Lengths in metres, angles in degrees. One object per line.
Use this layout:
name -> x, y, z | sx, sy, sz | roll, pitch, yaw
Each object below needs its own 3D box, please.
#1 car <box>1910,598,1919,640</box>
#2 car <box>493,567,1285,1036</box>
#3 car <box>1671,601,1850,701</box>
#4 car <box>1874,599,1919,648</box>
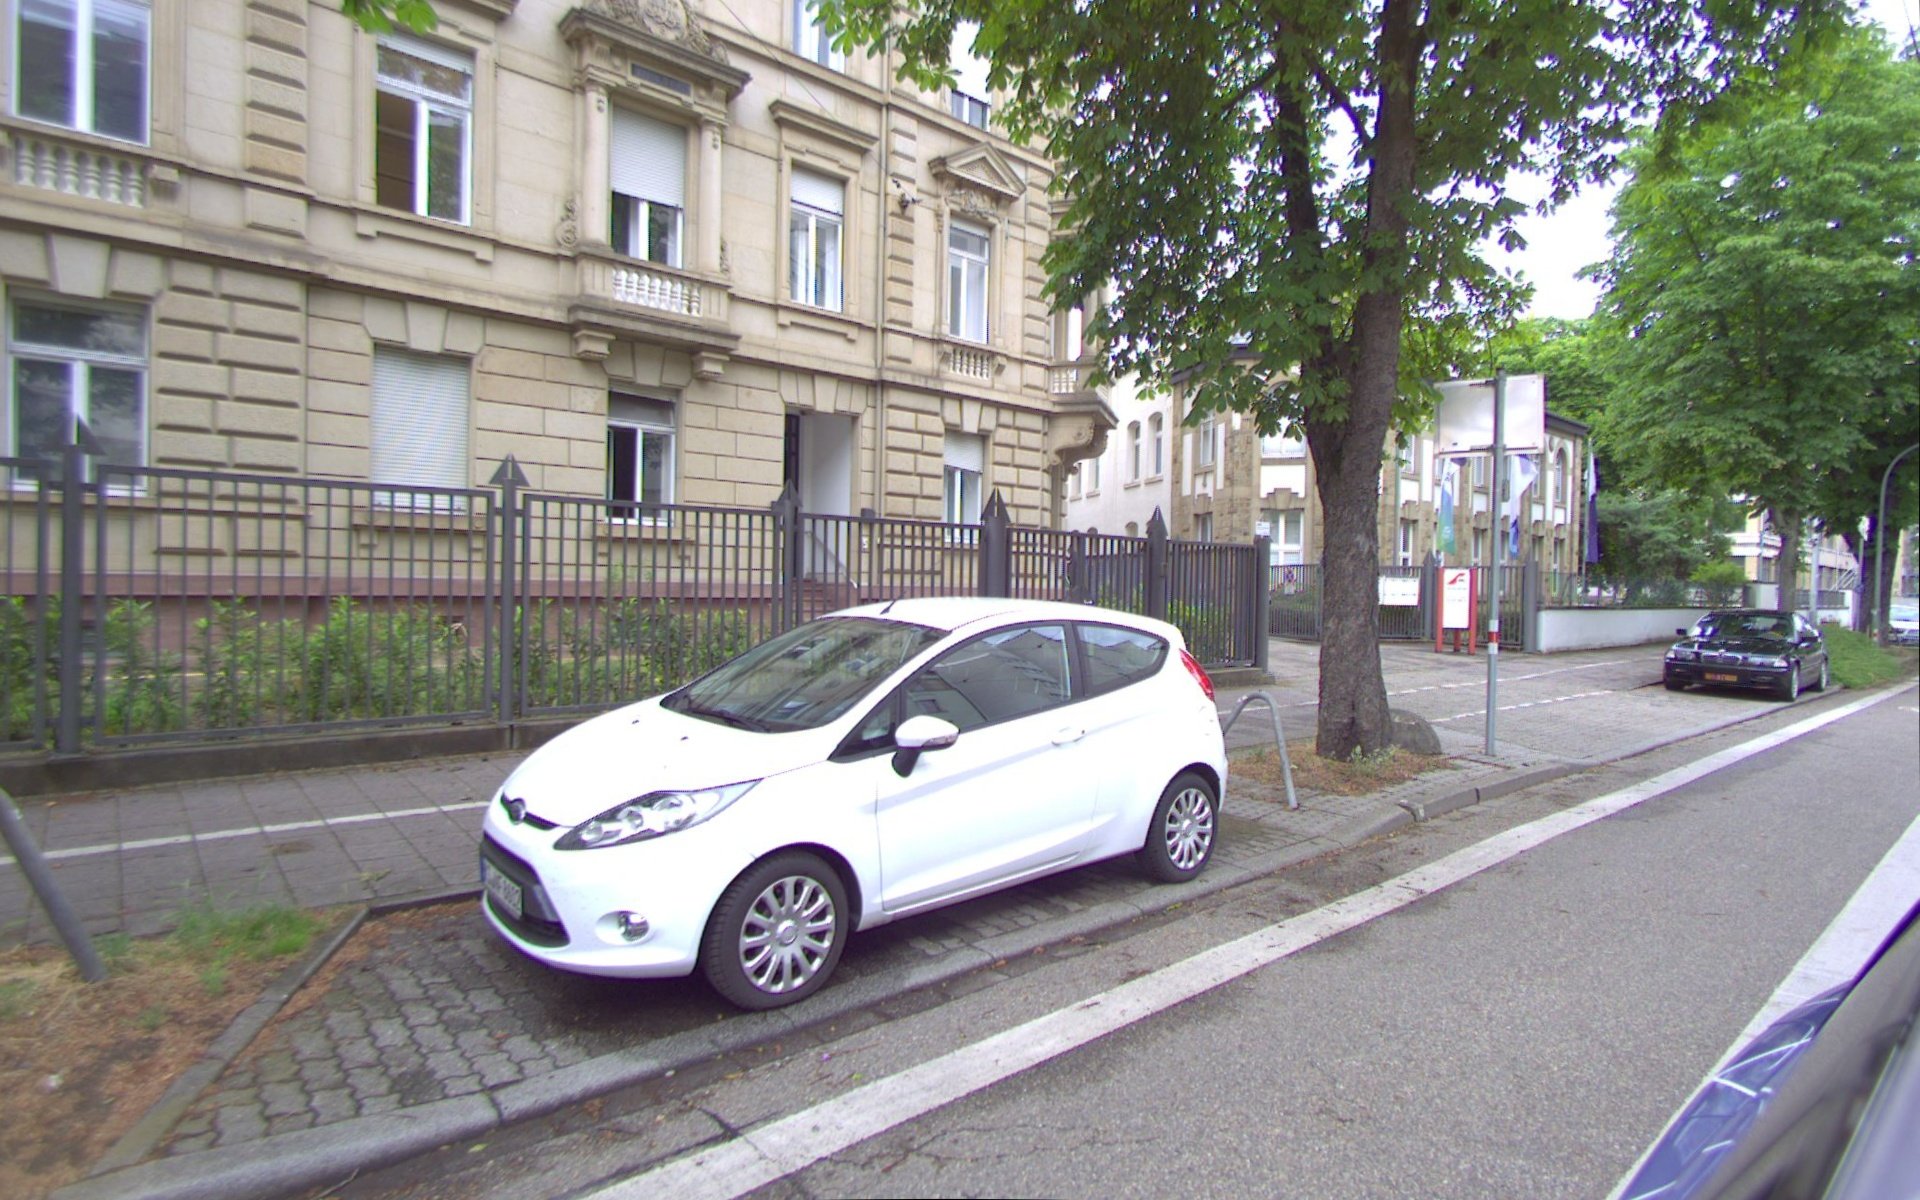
car -> 35.363, 0.709, 36.186 | 3.769, 1.442, 1.606 | 0, 3, -41
car -> -0.138, 0.634, 5.081 | 3.698, 1.453, 1.631 | 0, 3, -41
car -> 13.431, 0.759, 16.912 | 3.769, 1.387, 1.606 | 0, 3, -41
car -> 30.012, 0.724, 31.650 | 3.769, 1.387, 1.606 | 0, 3, -41
